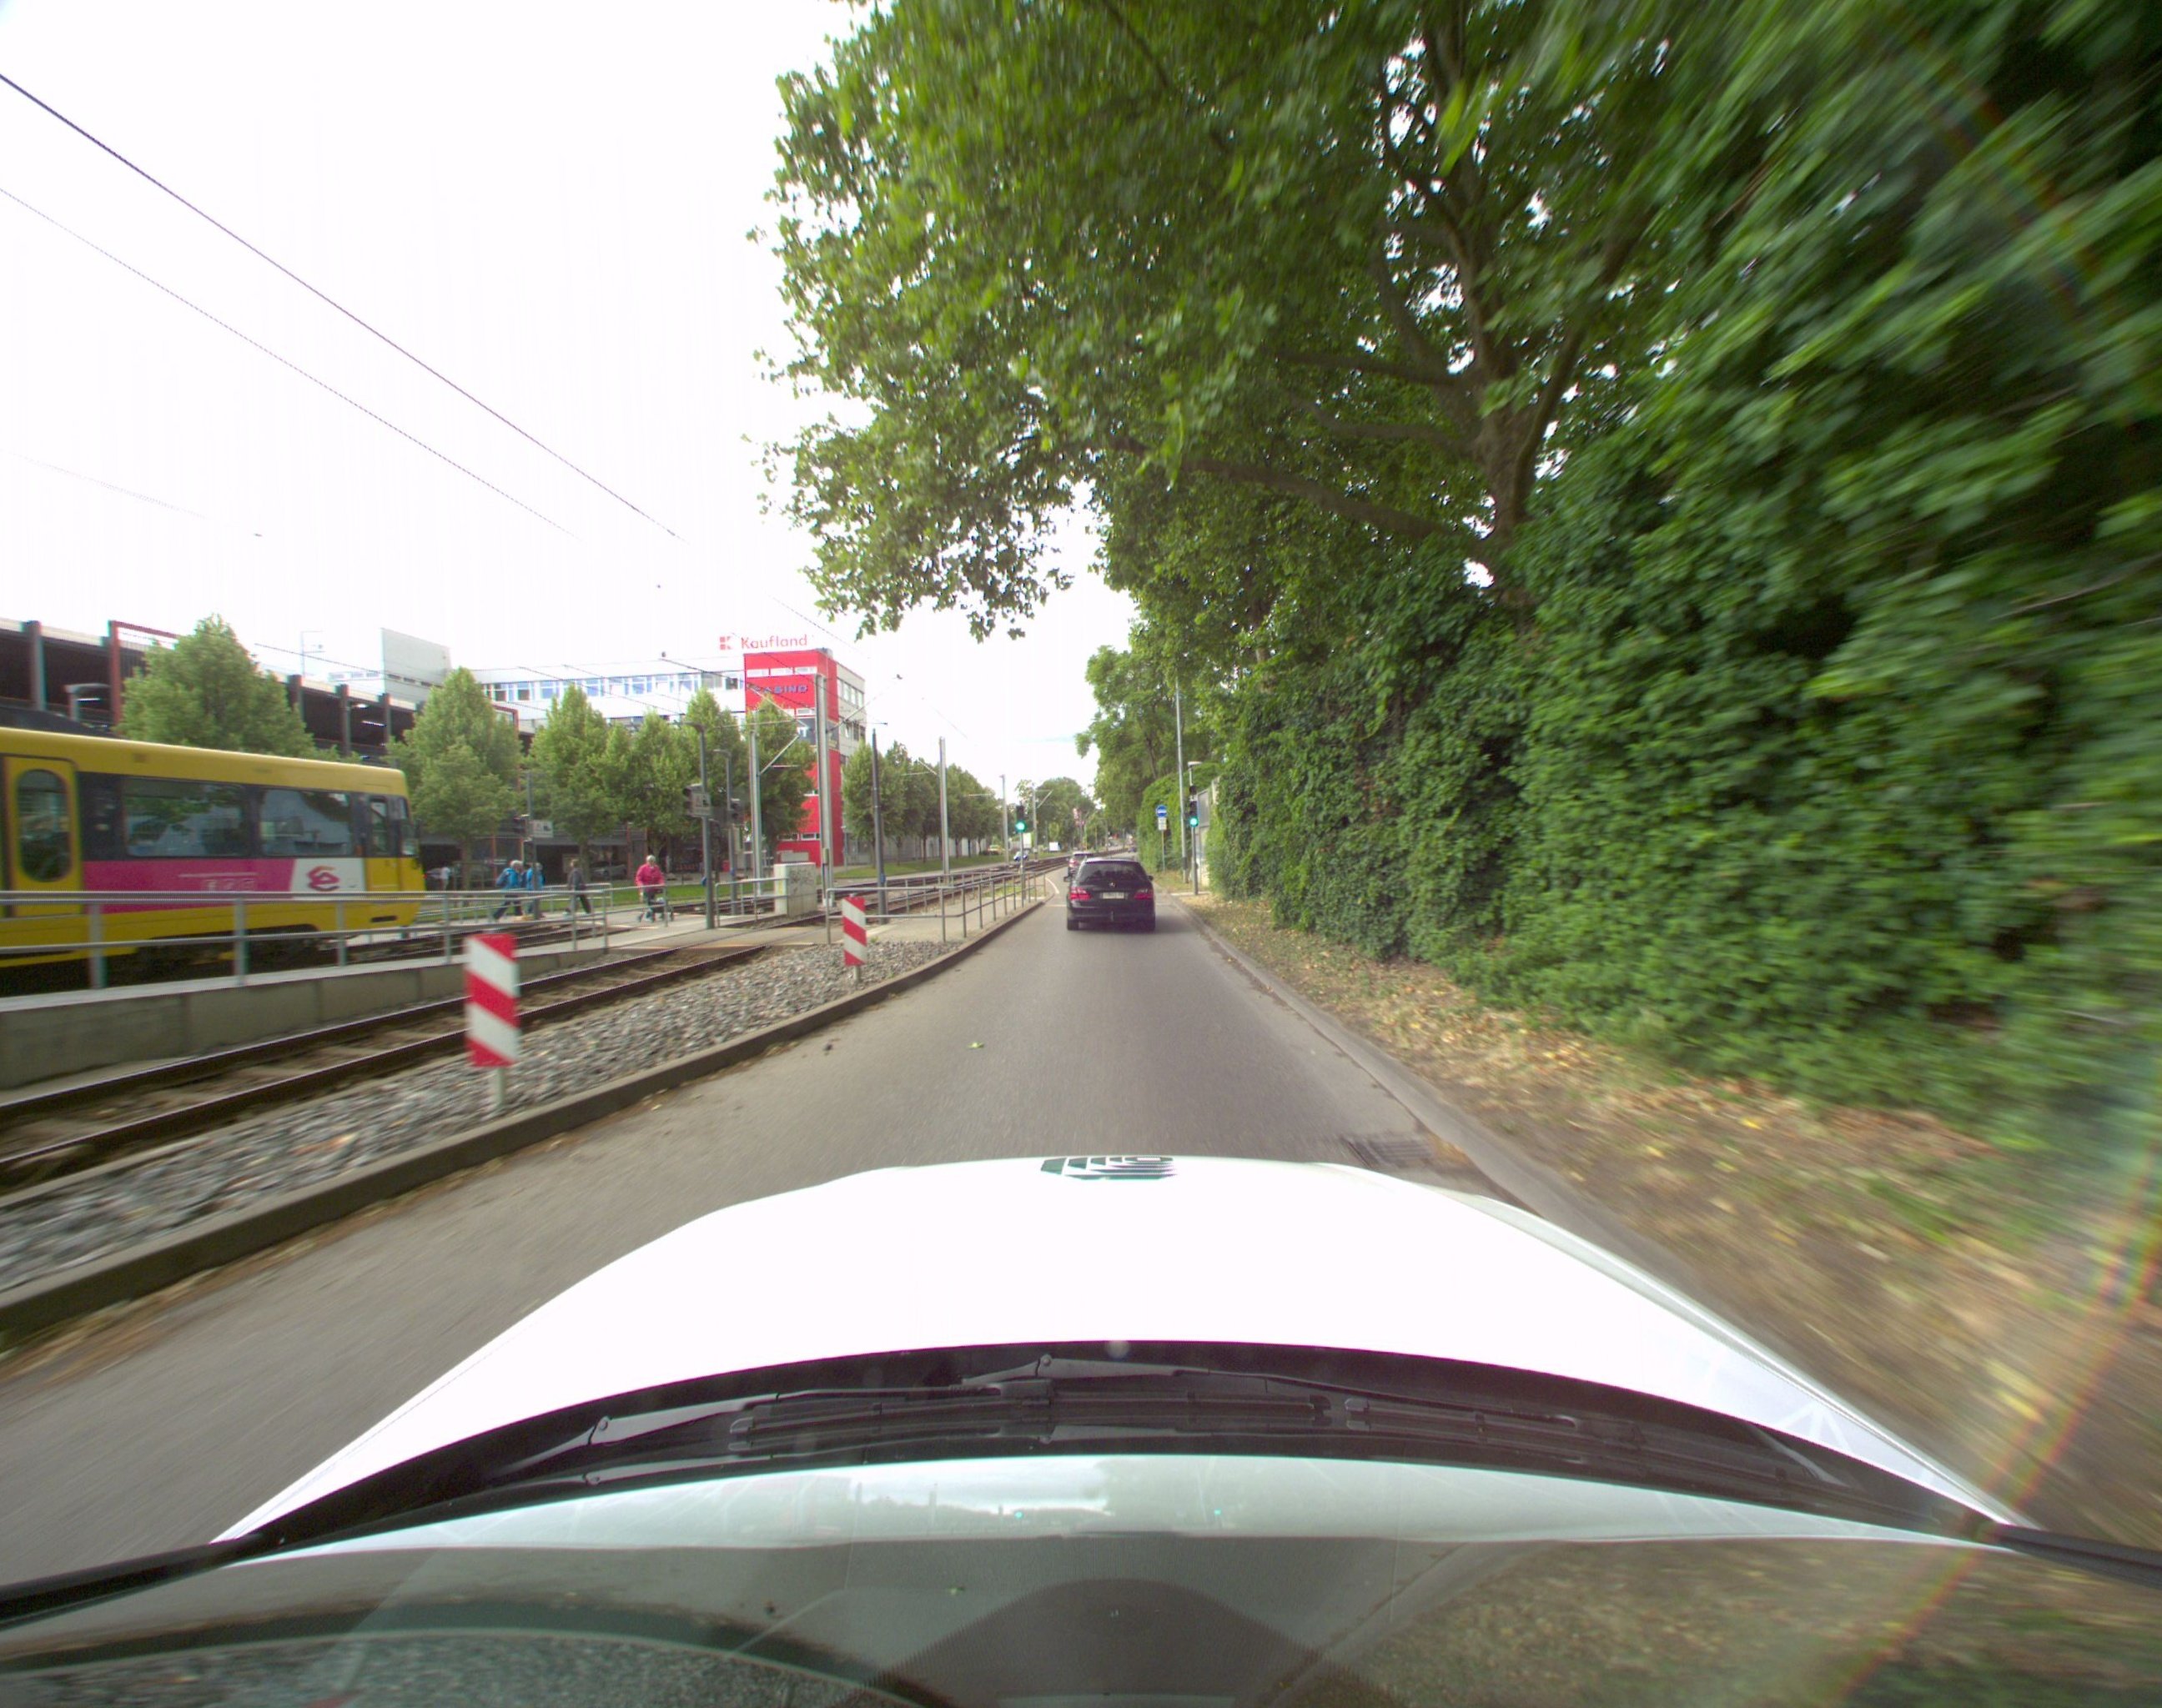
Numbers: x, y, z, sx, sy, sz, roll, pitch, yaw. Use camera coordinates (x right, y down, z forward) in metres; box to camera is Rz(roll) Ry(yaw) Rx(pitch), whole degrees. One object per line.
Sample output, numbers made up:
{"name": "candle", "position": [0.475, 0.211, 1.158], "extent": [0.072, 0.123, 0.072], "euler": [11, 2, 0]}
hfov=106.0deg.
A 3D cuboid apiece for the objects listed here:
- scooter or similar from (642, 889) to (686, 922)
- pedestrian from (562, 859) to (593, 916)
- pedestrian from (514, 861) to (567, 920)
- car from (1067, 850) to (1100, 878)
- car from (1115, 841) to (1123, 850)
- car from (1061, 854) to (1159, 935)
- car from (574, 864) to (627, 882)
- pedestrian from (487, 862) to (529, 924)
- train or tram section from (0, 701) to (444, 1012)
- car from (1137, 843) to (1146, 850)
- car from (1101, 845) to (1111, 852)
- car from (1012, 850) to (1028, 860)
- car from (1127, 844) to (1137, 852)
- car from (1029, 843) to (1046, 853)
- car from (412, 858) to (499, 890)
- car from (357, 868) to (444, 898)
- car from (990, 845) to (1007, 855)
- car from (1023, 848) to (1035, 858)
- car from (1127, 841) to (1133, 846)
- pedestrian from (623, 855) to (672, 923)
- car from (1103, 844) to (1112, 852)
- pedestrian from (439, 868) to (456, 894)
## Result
{"name": "scooter or similar", "position": [-10.487, 1.290, 20.492], "extent": [0.491, 0.768, 0.803], "euler": [-4, 0, 23]}
{"name": "pedestrian", "position": [-15.153, 0.989, 24.504], "extent": [0.513, 1.662, 0.467], "euler": [-4, 0, 13]}
{"name": "pedestrian", "position": [-15.495, 1.034, 23.370], "extent": [0.707, 1.611, 0.945], "euler": [-4, 0, 13]}
{"name": "car", "position": [0.182, 0.546, 49.063], "extent": [1.818, 1.530, 4.418], "euler": [-1, 1, 2]}
{"name": "car", "position": [9.969, -2.208, 211.809], "extent": [1.884, 2.013, 3.901], "euler": [-3, 0, 3]}
{"name": "car", "position": [0.672, 0.770, 17.656], "extent": [1.825, 1.478, 4.420], "euler": [-1, 0, 3]}
{"name": "car", "position": [-38.246, 1.493, 64.926], "extent": [1.449, 1.226, 4.453], "euler": [-2, 0, 2]}
{"name": "pedestrian", "position": [-16.092, 1.069, 22.872], "extent": [0.720, 1.698, 0.661], "euler": [0, 0, 25]}
{"name": "train or tram section", "position": [-14.866, 0.106, 7.009], "extent": [2.744, 3.828, 18.654], "euler": [-3, 0, 4]}
{"name": "car", "position": [13.695, -1.714, 184.010], "extent": [1.817, 1.530, 4.184], "euler": [-1, 1, 4]}
{"name": "car", "position": [5.218, -1.142, 167.044], "extent": [1.817, 1.530, 3.991], "euler": [-1, 1, 4]}
{"name": "car", "position": [-8.955, 0.133, 119.704], "extent": [1.650, 1.393, 3.727], "euler": [-1, 1, 7]}
{"name": "car", "position": [10.657, -1.307, 169.525], "extent": [1.817, 1.530, 4.421], "euler": [-3, 0, 4]}
{"name": "car", "position": [-10.670, -1.446, 198.521], "extent": [3.977, 2.123, 1.998], "euler": [-4, 0, -3]}
{"name": "car", "position": [-40.617, 1.257, 53.063], "extent": [1.666, 1.888, 4.872], "euler": [-3, 0, 3]}
{"name": "car", "position": [-38.012, 1.584, 45.611], "extent": [1.666, 1.476, 3.678], "euler": [-2, 1, 3]}
{"name": "car", "position": [-14.986, -0.779, 147.579], "extent": [1.983, 1.743, 4.997], "euler": [-3, 0, 7]}
{"name": "car", "position": [-11.422, -0.289, 178.427], "extent": [1.986, 2.013, 4.002], "euler": [-4, 0, 2]}
{"name": "car", "position": [14.933, -3.098, 249.197], "extent": [1.817, 1.530, 4.184], "euler": [-1, 1, 4]}
{"name": "pedestrian", "position": [-11.020, 0.886, 20.719], "extent": [0.607, 1.654, 0.800], "euler": [-4, 0, 24]}
{"name": "car", "position": [5.570, -1.287, 171.902], "extent": [1.817, 1.530, 3.991], "euler": [-1, 1, 4]}
{"name": "pedestrian", "position": [-36.778, 1.574, 47.277], "extent": [0.419, 1.506, 0.615], "euler": [-1, 1, 3]}
